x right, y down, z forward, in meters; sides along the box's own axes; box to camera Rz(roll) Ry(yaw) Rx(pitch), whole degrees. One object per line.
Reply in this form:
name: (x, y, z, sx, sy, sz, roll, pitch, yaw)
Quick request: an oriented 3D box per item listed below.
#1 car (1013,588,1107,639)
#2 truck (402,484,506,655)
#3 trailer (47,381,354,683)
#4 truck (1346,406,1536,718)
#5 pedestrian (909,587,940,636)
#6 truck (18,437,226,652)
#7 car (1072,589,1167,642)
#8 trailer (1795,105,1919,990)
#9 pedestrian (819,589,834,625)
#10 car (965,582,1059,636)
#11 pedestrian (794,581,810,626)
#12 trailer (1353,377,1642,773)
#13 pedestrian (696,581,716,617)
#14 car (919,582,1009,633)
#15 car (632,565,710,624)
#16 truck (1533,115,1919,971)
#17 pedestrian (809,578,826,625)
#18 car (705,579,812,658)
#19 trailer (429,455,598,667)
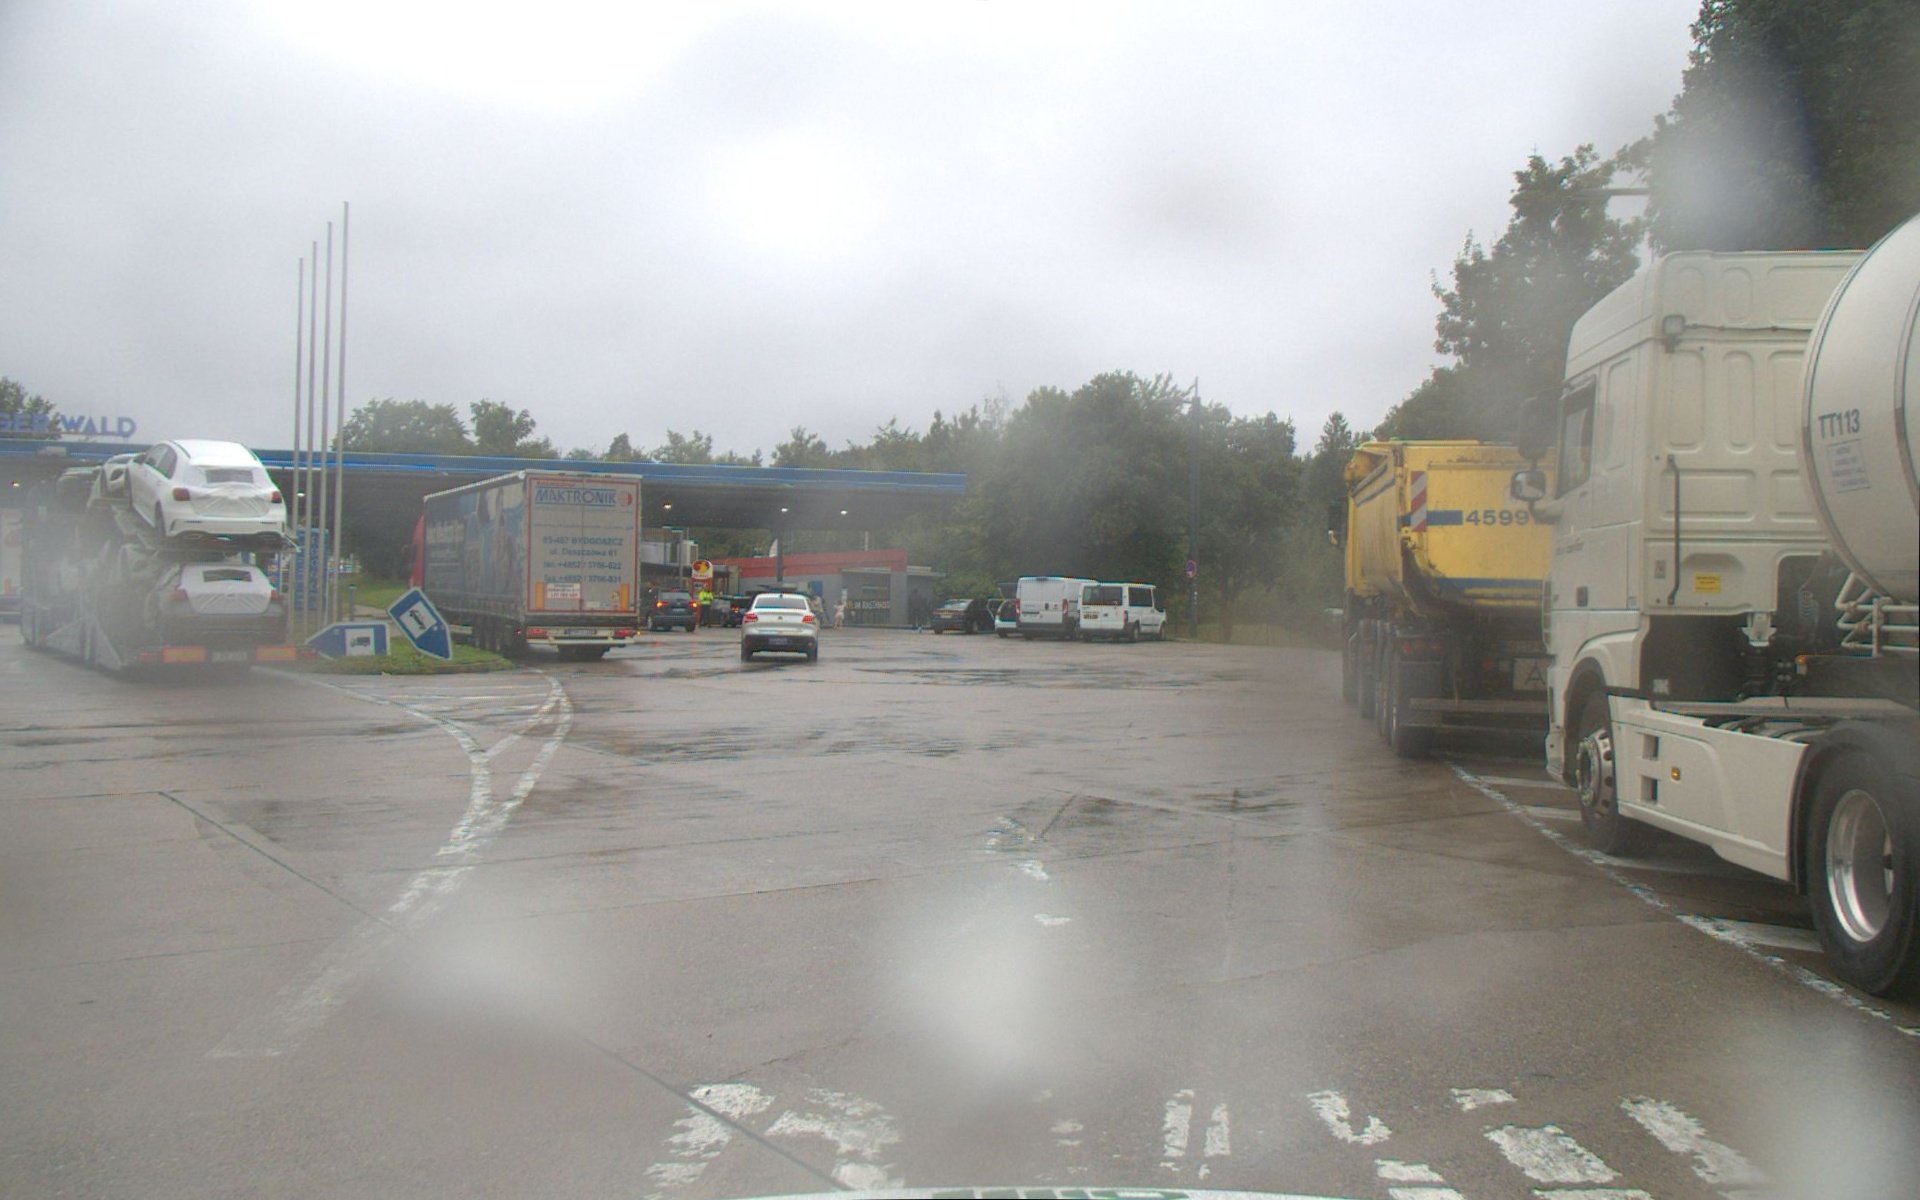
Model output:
car: (3.657, 0.477, 59.682, 2.071, 1.758, 3.997, 1, 0, 25)
truck: (-14.541, -0.815, 47.383, 1.965, 4.629, 4.752, 1, -1, -27)
trailer: (-13.706, -1.005, 29.065, 3.186, 4.262, 11.397, 2, 0, -33)
truck: (6.527, -0.490, 22.884, 2.134, 3.895, 4.145, 1, 0, 11)
pedestrian: (-1.455, 0.475, 67.496, 0.934, 1.953, 1.089, 1, 0, 17)
truck: (-19.102, -1.139, 37.372, 3.204, 4.262, 8.347, 2, 0, -33)
car: (5.594, 0.519, 57.657, 2.071, 1.758, 3.997, 1, 0, 25)
trailer: (4.538, -0.207, 2.474, 2.086, 3.501, 10.258, 1, 0, 4)
pedestrian: (-5.861, 0.323, 72.386, 0.597, 1.566, 0.593, 1, -2, -9)
car: (2.023, 0.344, 62.936, 2.071, 1.970, 4.189, 1, 0, 25)
pedestrian: (-7.251, 0.164, 76.096, 0.576, 2.049, 0.636, 3, -3, -11)
trailer: (5.615, -0.232, 18.330, 2.136, 3.451, 7.570, 1, 0, 11)
pedestrian: (-11.386, -0.046, 74.102, 0.704, 1.548, 0.742, 3, -3, -2)
car: (0.200, 0.297, 66.952, 2.071, 1.970, 4.189, 1, 0, 25)
car: (-11.318, -0.160, 64.596, 1.968, 2.049, 3.967, 4, -4, -25)
truck: (4.880, -0.233, 9.170, 2.101, 3.574, 4.649, 1, 0, 5)
pedestrian: (-6.453, 0.083, 74.955, 0.656, 2.049, 0.742, 3, -3, -2)
car: (-4.735, 0.410, 38.453, 1.960, 1.708, 3.985, 1, 0, -14)
trailer: (-11.253, -0.831, 40.959, 1.970, 4.639, 9.721, 1, -1, -27)
